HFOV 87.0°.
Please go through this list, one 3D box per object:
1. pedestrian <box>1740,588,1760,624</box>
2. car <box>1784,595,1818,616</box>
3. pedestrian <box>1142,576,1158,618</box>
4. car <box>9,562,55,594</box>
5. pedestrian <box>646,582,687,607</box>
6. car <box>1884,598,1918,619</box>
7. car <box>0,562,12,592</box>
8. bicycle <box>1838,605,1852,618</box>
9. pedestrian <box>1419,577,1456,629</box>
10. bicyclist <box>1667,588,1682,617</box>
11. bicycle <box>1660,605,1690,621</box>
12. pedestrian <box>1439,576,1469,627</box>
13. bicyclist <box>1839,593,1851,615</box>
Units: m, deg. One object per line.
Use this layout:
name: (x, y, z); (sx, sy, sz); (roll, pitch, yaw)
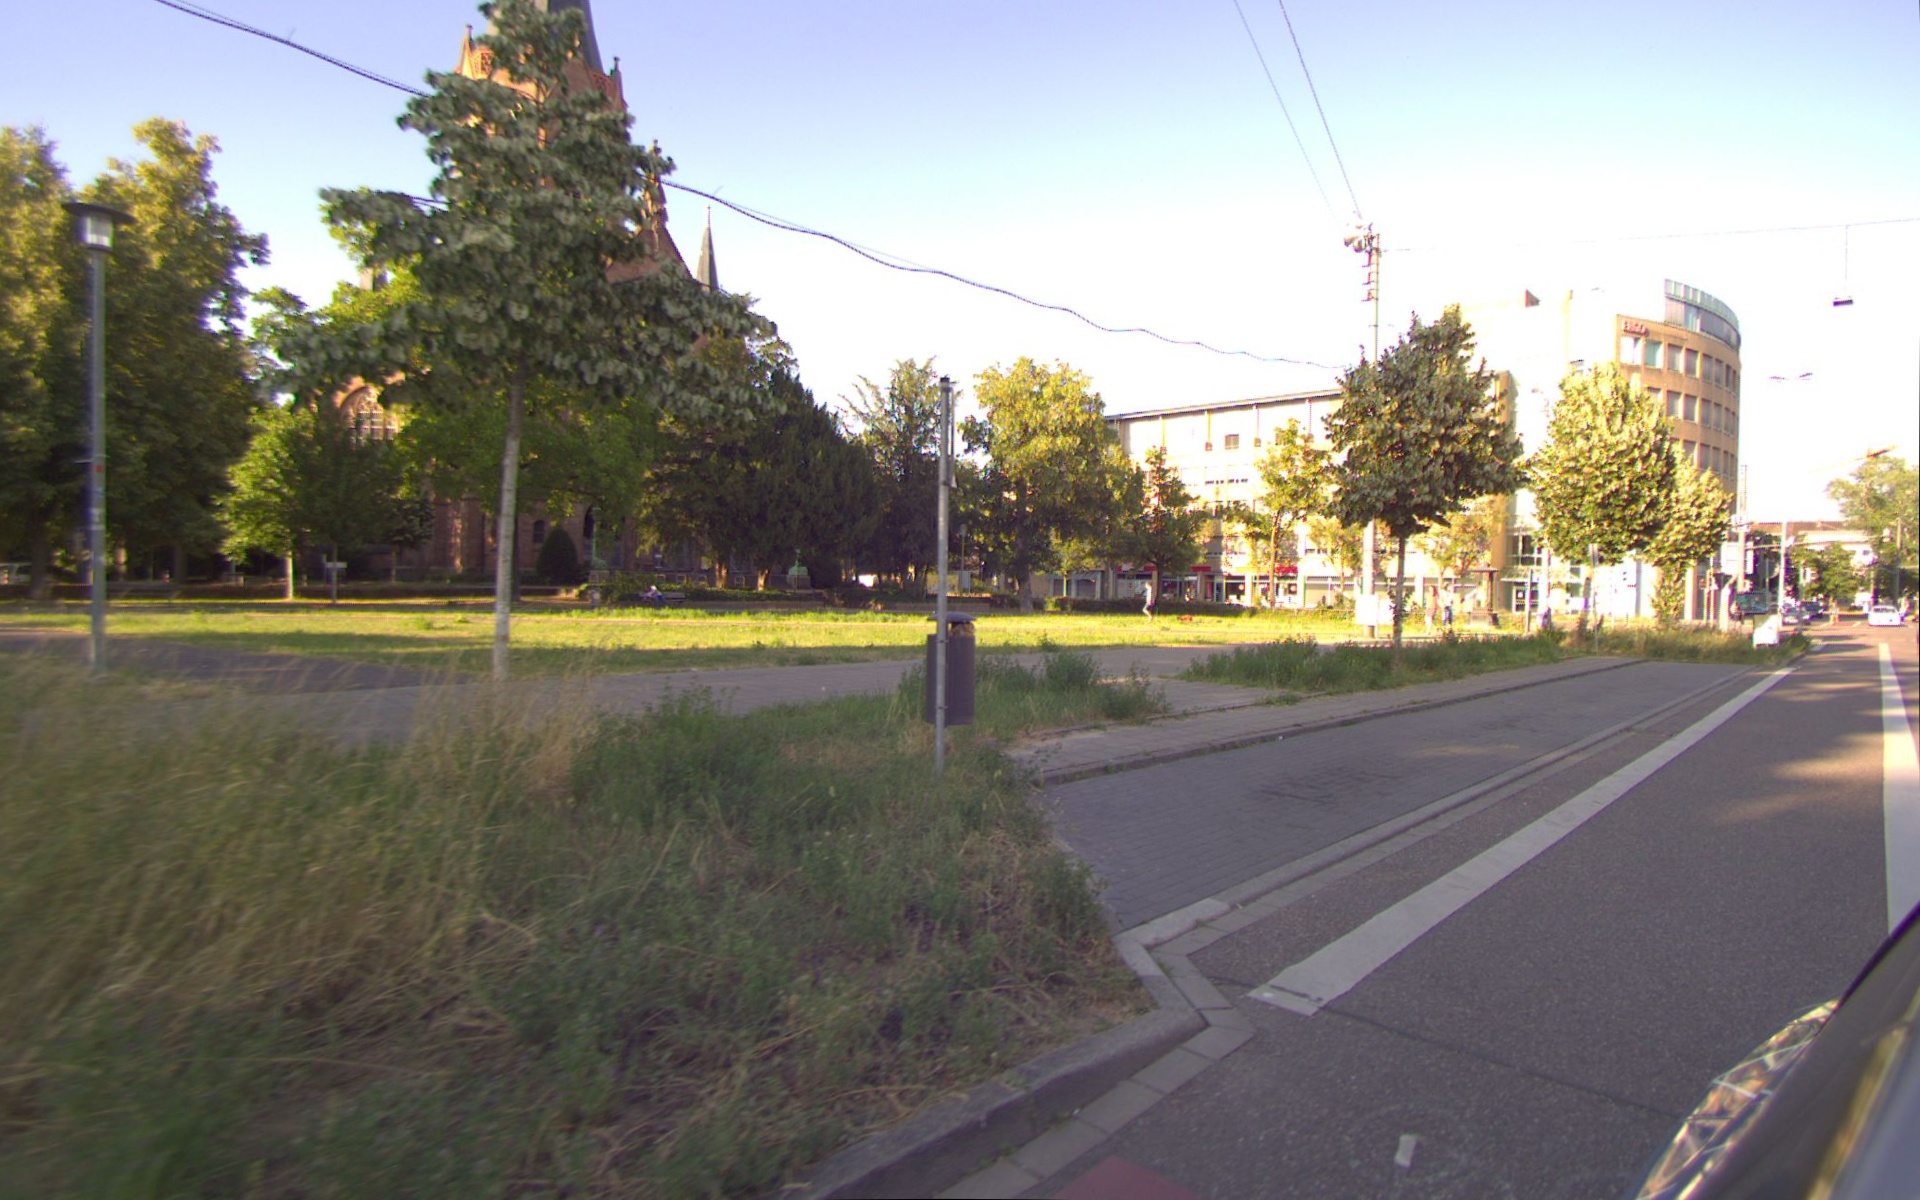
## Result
pedestrian: (38.734, 0.299, 49.636); (0.703, 1.746, 0.650); (1, 1, -44)
car: (62.978, 0.396, 75.805); (1.764, 1.491, 3.952); (-1, 0, 43)
pedestrian: (8.143, -0.128, 43.402); (0.632, 1.761, 0.594); (1, 0, 11)
car: (-45.567, -1.061, 49.746); (1.570, 1.529, 4.150); (0, 0, -42)
pedestrian: (-12.336, -0.214, 42.569); (1.260, 1.006, 1.383); (1, 1, -35)
car: (69.021, 0.594, 74.282); (1.764, 1.491, 3.952); (-1, 0, 43)
car: (-50.688, -1.216, 52.853); (1.601, 1.529, 4.150); (1, 1, -42)
bicycle: (65.112, 0.819, 74.465); (1.747, 0.940, 0.608); (0, 1, -44)
pedestrian: (15.929, 0.106, 33.746); (0.900, 1.670, 0.740); (1, 3, -43)
bicyclist: (47.955, 0.168, 67.918); (0.683, 1.963, 0.579); (0, -1, -23)
bicycle: (47.992, 0.863, 67.930); (1.937, 1.064, 0.702); (0, -1, -23)
pedestrian: (16.953, 0.061, 34.752); (0.768, 1.709, 0.598); (1, 2, -43)
bicyclist: (65.131, 0.288, 74.477); (0.818, 1.630, 0.551); (1, 0, -44)
